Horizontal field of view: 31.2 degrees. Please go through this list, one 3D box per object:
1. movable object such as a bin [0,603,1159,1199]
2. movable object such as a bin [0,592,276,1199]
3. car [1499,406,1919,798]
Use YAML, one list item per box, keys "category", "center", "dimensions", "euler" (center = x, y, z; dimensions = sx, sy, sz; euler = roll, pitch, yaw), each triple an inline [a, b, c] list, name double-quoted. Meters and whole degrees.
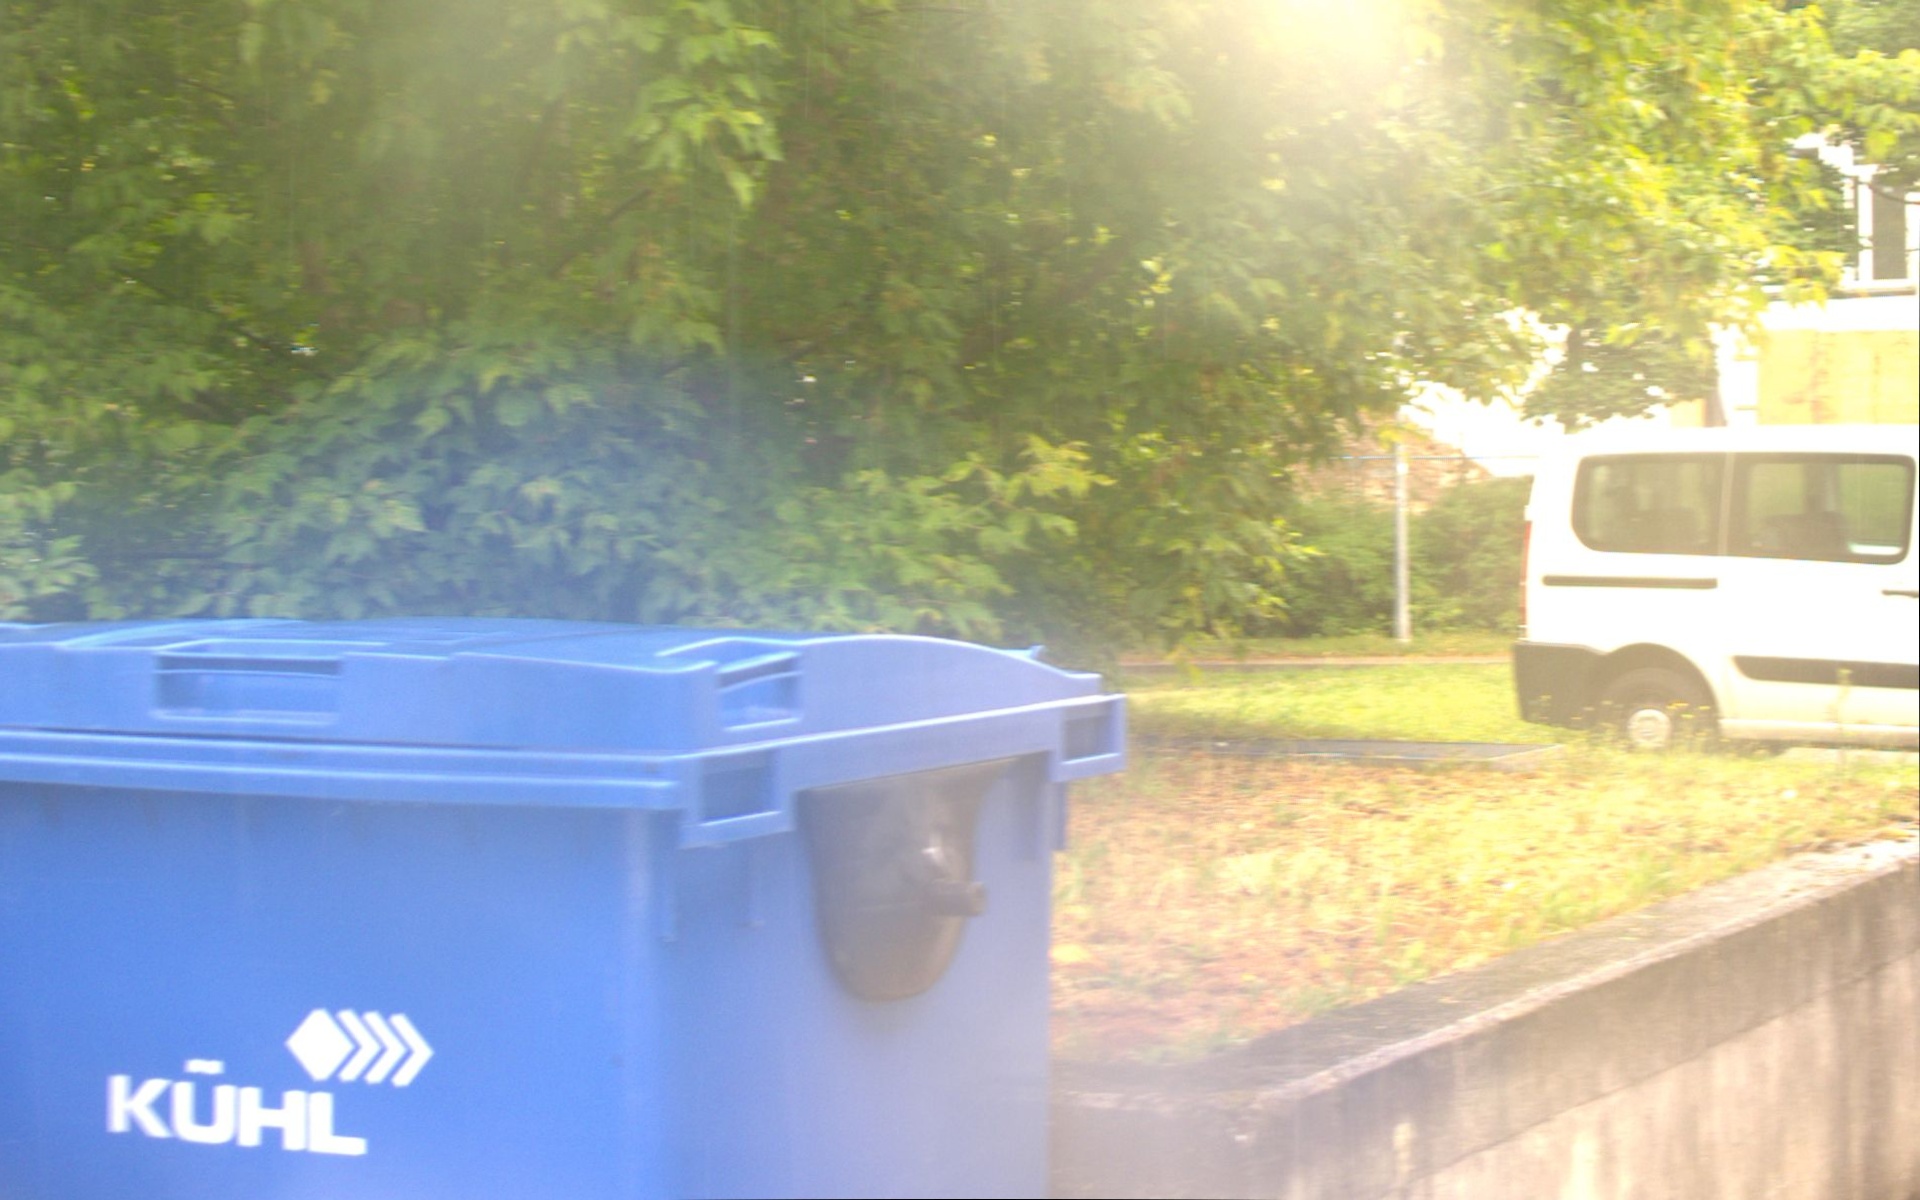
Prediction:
- category: "movable object such as a bin"
  center: [-0.536, 0.696, 4.119]
  dimensions: [1.223, 1.332, 1.005]
  euler: [1, 2, 31]
- category: "movable object such as a bin"
  center: [-1.742, 0.678, 4.687]
  dimensions: [1.223, 1.332, 1.005]
  euler: [1, 3, 31]
- category: "car"
  center: [5.527, -0.027, 18.397]
  dimensions: [4.788, 2.006, 1.997]
  euler: [0, 2, 31]
